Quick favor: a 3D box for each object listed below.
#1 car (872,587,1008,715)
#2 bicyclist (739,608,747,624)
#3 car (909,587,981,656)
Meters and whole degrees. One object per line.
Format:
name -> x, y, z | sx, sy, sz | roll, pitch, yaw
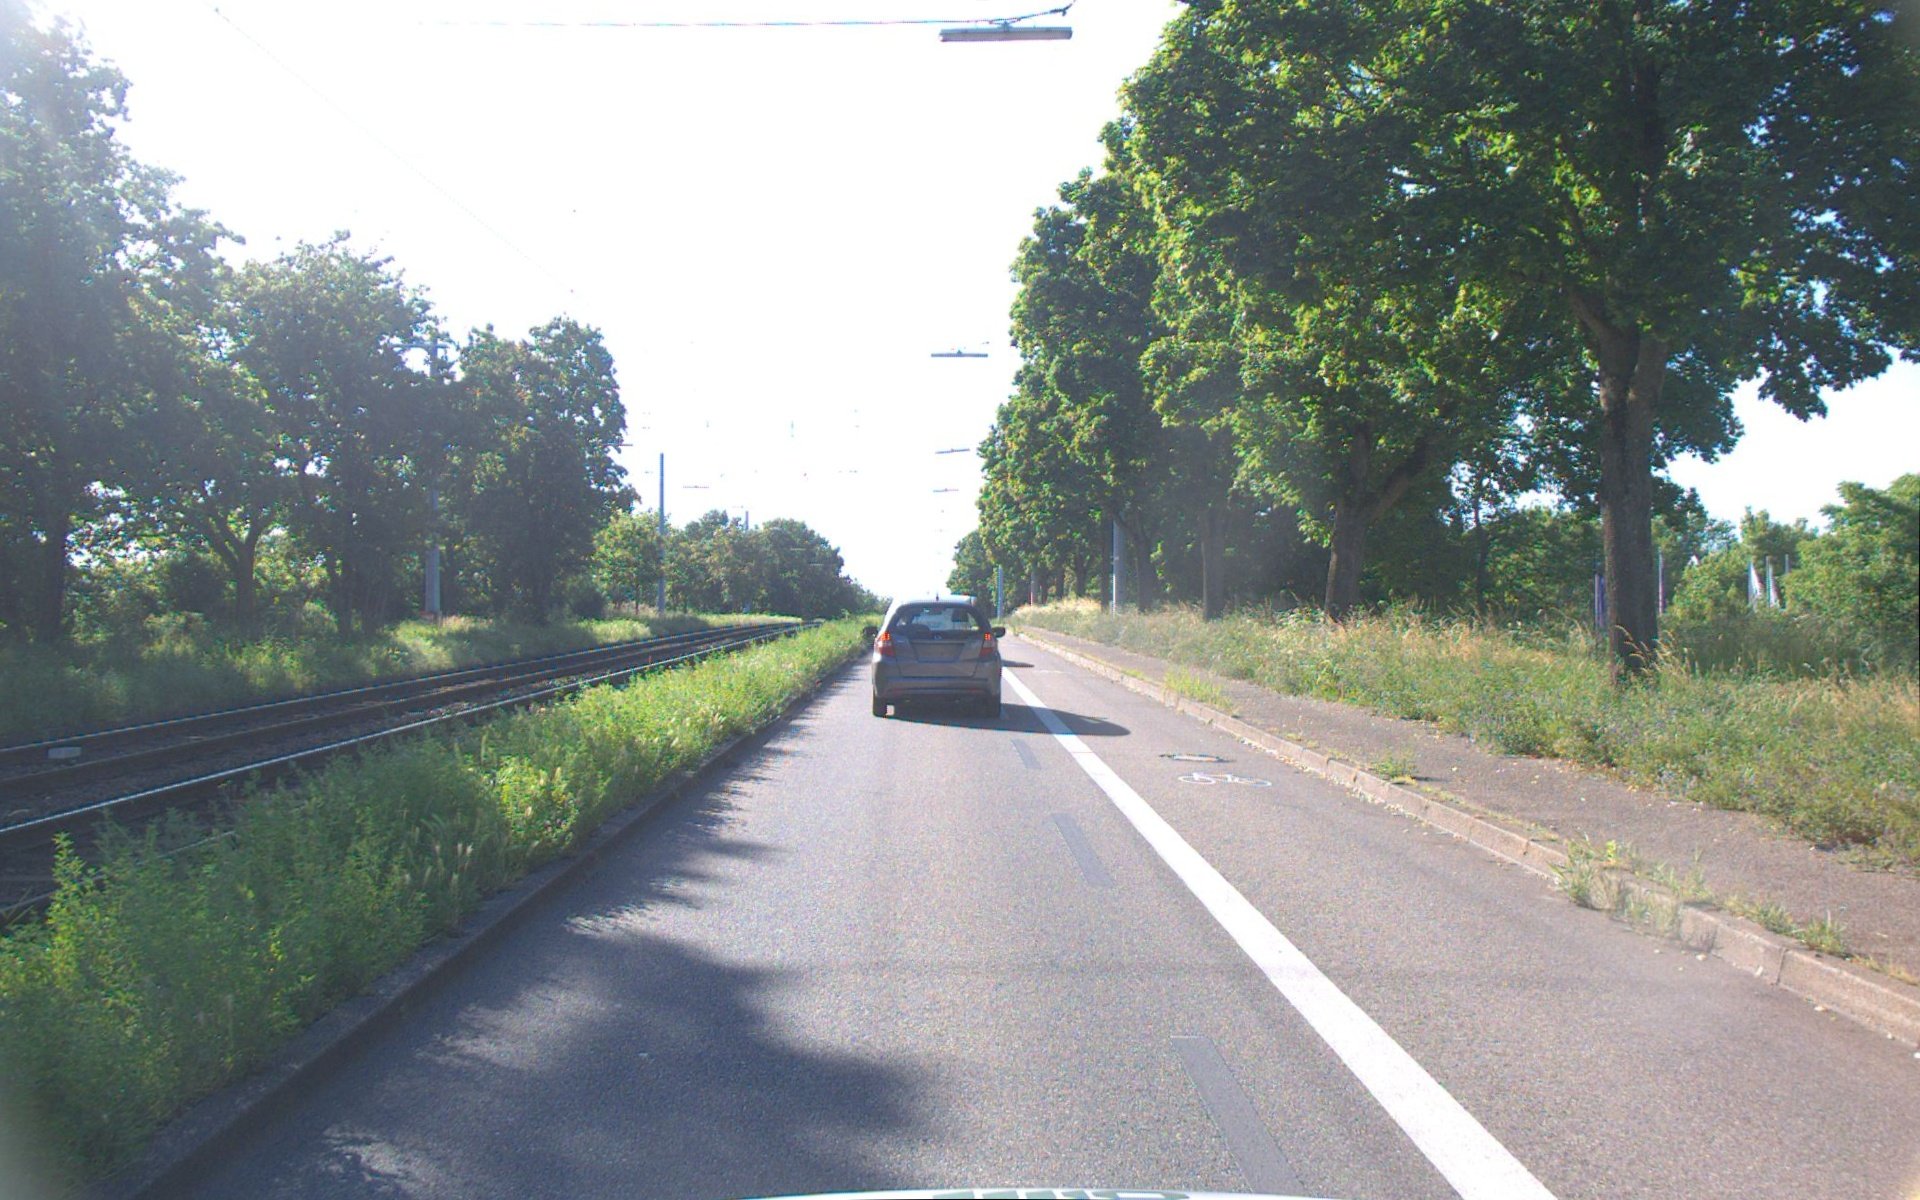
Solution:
car -> -0.254, 0.628, 22.123 | 1.636, 1.534, 3.810 | 1, 0, 0
bicyclist -> -18.278, 1.325, 139.464 | 0.570, 1.333, 0.987 | 1, 0, -1
car -> -0.361, 0.495, 39.859 | 1.621, 1.534, 3.810 | 1, 0, 0
